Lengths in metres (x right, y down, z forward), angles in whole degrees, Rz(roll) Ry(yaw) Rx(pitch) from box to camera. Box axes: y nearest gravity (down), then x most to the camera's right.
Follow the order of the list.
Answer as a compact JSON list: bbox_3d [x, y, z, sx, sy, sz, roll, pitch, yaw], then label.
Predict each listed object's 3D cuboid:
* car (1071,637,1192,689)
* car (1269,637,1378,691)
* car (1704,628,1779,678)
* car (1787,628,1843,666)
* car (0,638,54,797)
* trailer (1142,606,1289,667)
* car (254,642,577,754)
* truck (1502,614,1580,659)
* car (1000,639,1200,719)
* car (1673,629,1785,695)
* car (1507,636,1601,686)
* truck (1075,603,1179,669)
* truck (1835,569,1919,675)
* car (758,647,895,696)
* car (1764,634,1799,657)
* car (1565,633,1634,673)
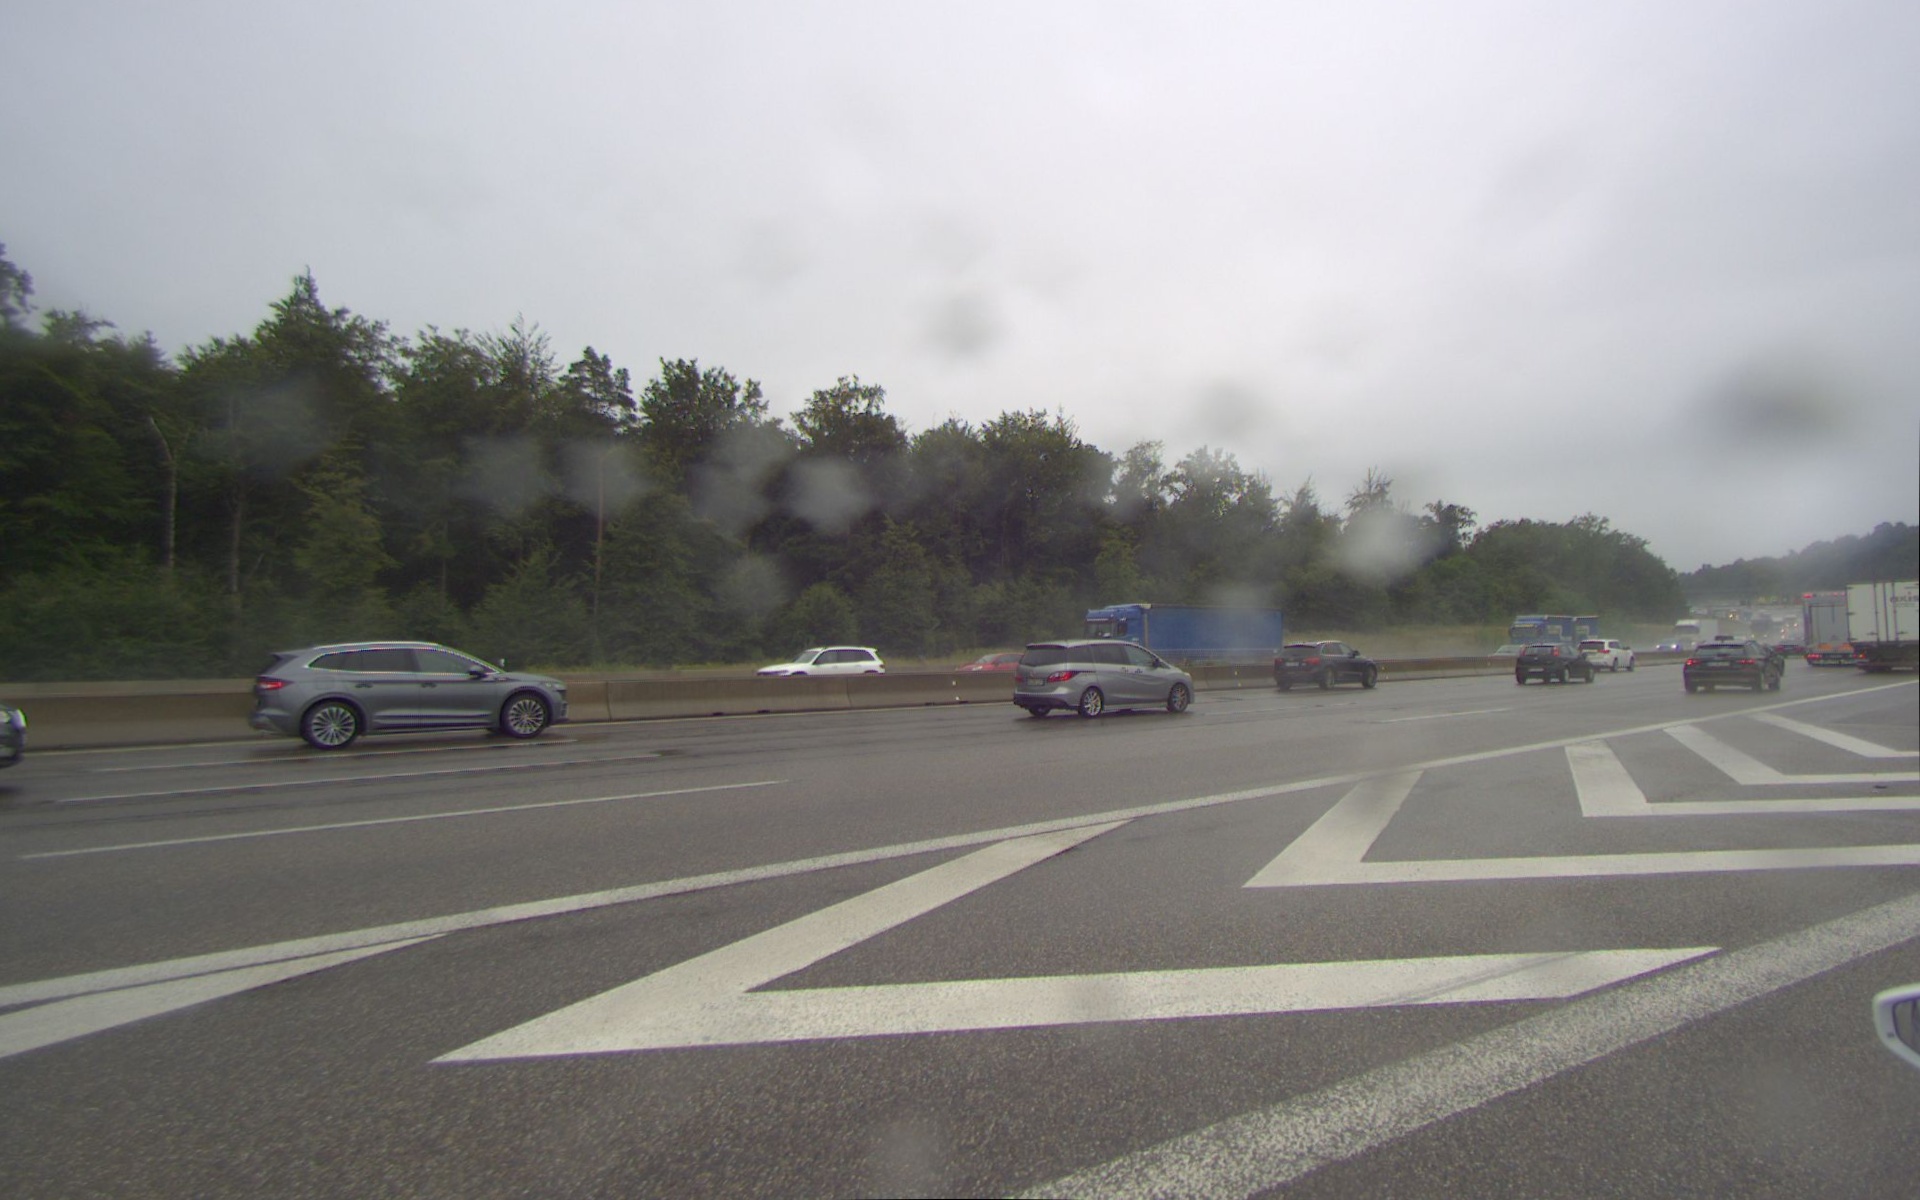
[{"bbox_3d":[6.068,2.198,35.279,4.177,1.706,1.977,3,-4,-40],"label":"car"},{"bbox_3d":[12.618,2.199,34.777,4.067,1.758,1.761,2,-4,-41],"label":"car"},{"bbox_3d":[32.944,2.211,42.303,4.303,1.997,1.772,2,-3,-42],"label":"car"},{"bbox_3d":[48.220,2.676,56.620,3.974,2.040,1.974,2,-4,-44],"label":"car"},{"bbox_3d":[-11.653,1.179,9.591,4.297,1.594,1.705,2,-4,-39],"label":"car"},{"bbox_3d":[15.814,2.229,61.396,11.307,3.462,2.709,2,-2,-40],"label":"trailer"},{"bbox_3d":[-8.770,1.496,16.399,4.420,1.594,1.706,2,-4,-38],"label":"car"},{"bbox_3d":[56.277,3.584,97.139,10.473,4.032,3.035,3,0,-40],"label":"truck"},{"bbox_3d":[3.069,1.633,21.602,4.296,1.546,1.775,2,-4,-38],"label":"car"},{"bbox_3d":[21.992,1.746,28.674,3.816,1.758,1.761,2,-4,-41],"label":"car"},{"bbox_3d":[22.281,2.260,37.620,4.067,1.758,1.761,2,-4,-40],"label":"car"},{"bbox_3d":[9.327,2.003,55.858,5.665,3.460,2.738,2,-2,-40],"label":"truck"},{"bbox_3d":[43.055,1.132,46.076,11.754,4.348,2.824,2,-4,-42],"label":"truck"},{"bbox_3d":[-4.462,2.363,33.912,4.296,1.546,1.775,2,-3,-38],"label":"car"},{"bbox_3d":[66.792,3.724,81.627,3.759,1.810,1.682,2,-3,-43],"label":"car"},{"bbox_3d":[33.532,2.778,52.626,3.969,2.040,1.977,2,-4,-41],"label":"car"}]
